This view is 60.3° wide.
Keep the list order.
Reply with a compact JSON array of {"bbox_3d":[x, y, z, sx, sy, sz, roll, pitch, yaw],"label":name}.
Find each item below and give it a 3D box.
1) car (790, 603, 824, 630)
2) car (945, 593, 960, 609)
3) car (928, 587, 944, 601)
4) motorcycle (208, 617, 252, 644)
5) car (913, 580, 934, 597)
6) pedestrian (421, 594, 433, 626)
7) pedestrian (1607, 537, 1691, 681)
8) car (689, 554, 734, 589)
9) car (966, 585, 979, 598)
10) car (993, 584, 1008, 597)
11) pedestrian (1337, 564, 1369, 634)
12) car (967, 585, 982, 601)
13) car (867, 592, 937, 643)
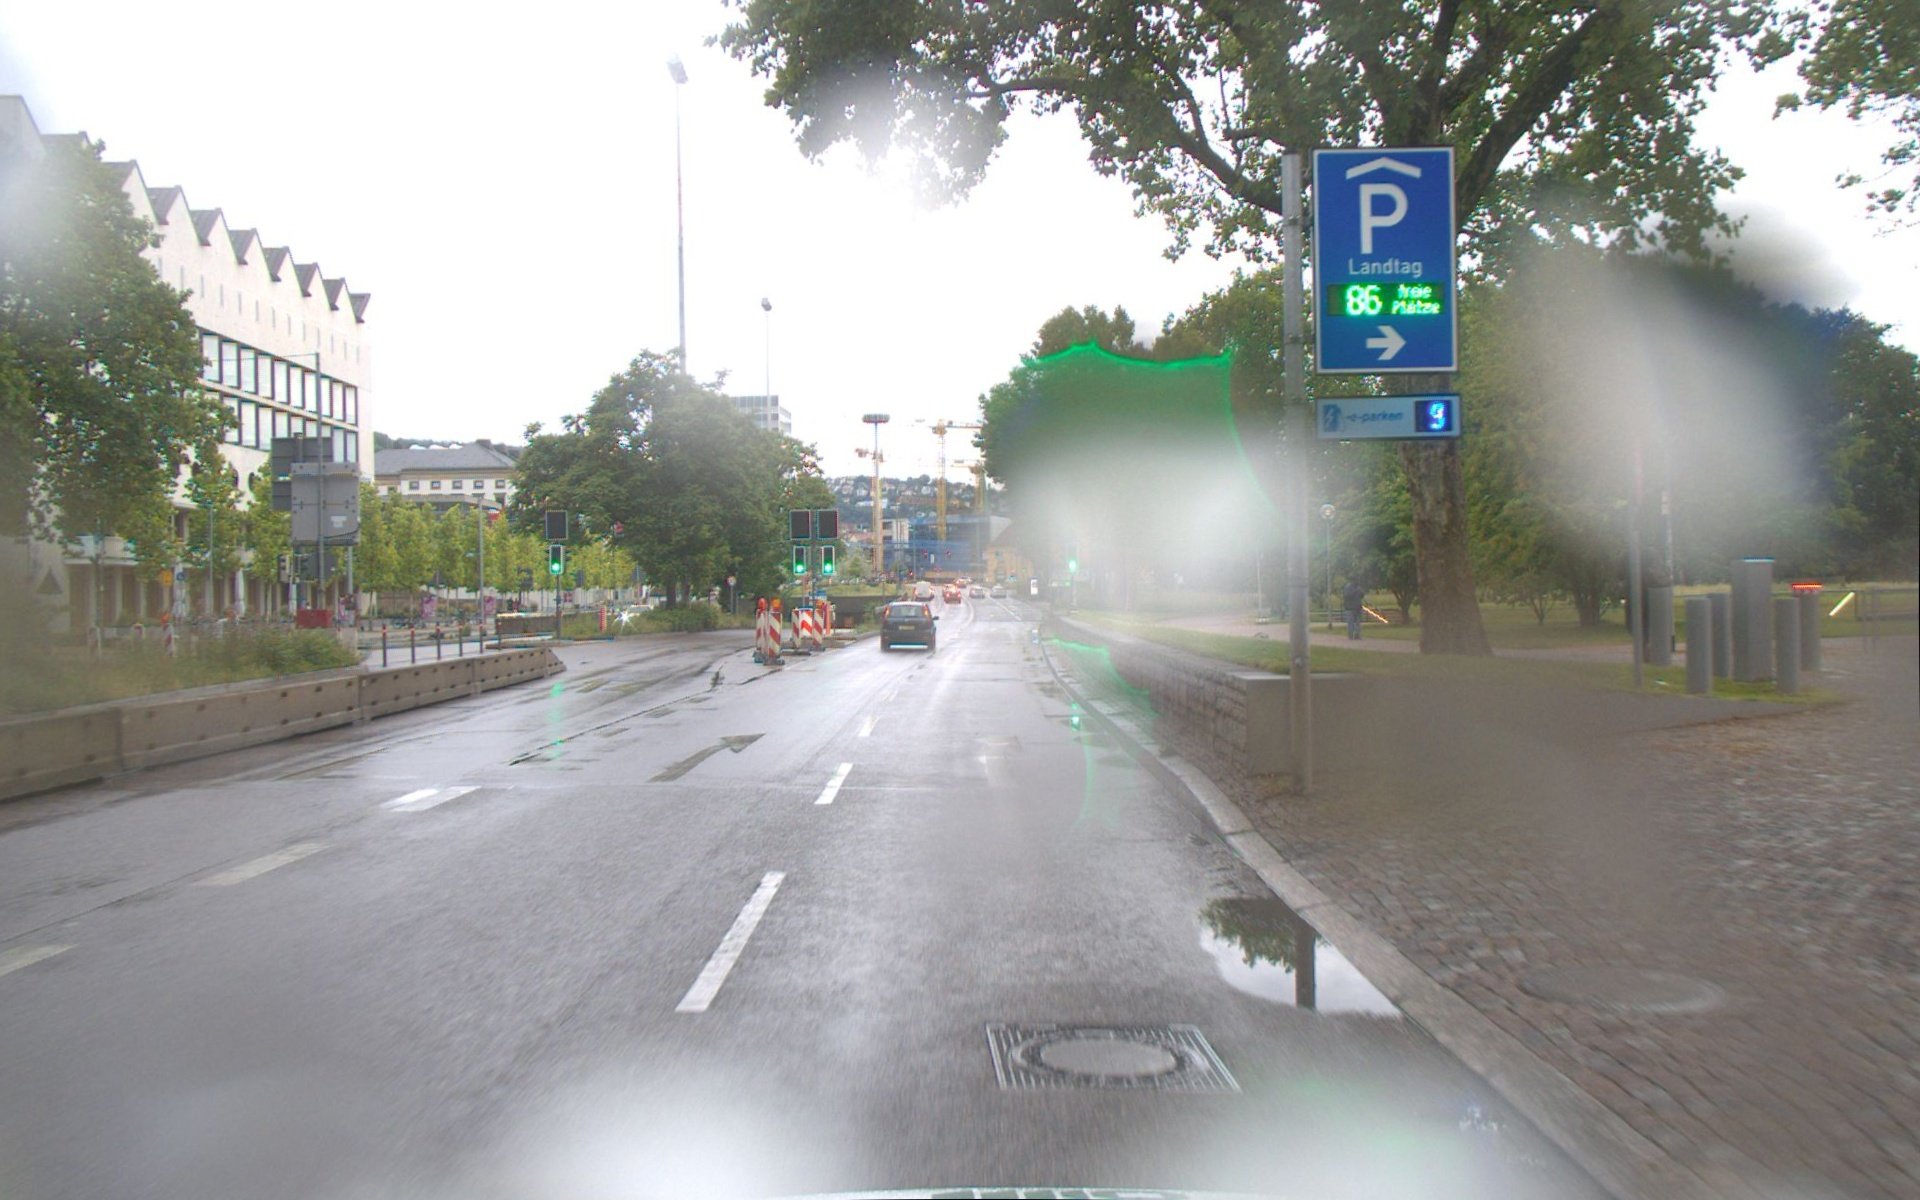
[{"bbox_3d":[-10.644,1.124,115.216,1.953,1.812,4.000,-1,0,0],"label":"car"},{"bbox_3d":[-0.886,0.095,196.862,1.703,1.802,3.999,-3,-1,0],"label":"car"},{"bbox_3d":[-3.249,-0.835,227.156,1.952,1.814,4.001,-3,-1,2],"label":"car"},{"bbox_3d":[-33.620,1.383,76.197,1.813,1.174,0.423,-2,0,-29],"label":"motorcycle"},{"bbox_3d":[-4.529,-1.409,206.931,2.173,2.049,4.002,0,-1,6],"label":"car"},{"bbox_3d":[-35.319,0.666,109.611,0.535,2.049,0.524,-2,-2,-36],"label":"pedestrian"},{"bbox_3d":[8.659,0.108,20.815,0.691,1.748,0.692,-3,0,-1],"label":"pedestrian"},{"bbox_3d":[-12.432,-1.400,82.908,1.955,1.661,3.995,-1,0,-5],"label":"car"},{"bbox_3d":[1.715,-1.133,228.620,1.677,1.719,3.850,-3,-1,2],"label":"car"},{"bbox_3d":[5.531,-1.343,226.082,1.952,1.627,4.001,-3,-1,2],"label":"car"},{"bbox_3d":[10.291,-0.026,43.328,0.583,1.786,0.725,-2,1,-3],"label":"pedestrian"},{"bbox_3d":[1.969,-0.961,223.343,1.947,2.049,3.999,-3,-1,-1],"label":"car"},{"bbox_3d":[-1.819,0.562,50.914,1.809,1.441,3.833,-2,-1,-6],"label":"car"}]
